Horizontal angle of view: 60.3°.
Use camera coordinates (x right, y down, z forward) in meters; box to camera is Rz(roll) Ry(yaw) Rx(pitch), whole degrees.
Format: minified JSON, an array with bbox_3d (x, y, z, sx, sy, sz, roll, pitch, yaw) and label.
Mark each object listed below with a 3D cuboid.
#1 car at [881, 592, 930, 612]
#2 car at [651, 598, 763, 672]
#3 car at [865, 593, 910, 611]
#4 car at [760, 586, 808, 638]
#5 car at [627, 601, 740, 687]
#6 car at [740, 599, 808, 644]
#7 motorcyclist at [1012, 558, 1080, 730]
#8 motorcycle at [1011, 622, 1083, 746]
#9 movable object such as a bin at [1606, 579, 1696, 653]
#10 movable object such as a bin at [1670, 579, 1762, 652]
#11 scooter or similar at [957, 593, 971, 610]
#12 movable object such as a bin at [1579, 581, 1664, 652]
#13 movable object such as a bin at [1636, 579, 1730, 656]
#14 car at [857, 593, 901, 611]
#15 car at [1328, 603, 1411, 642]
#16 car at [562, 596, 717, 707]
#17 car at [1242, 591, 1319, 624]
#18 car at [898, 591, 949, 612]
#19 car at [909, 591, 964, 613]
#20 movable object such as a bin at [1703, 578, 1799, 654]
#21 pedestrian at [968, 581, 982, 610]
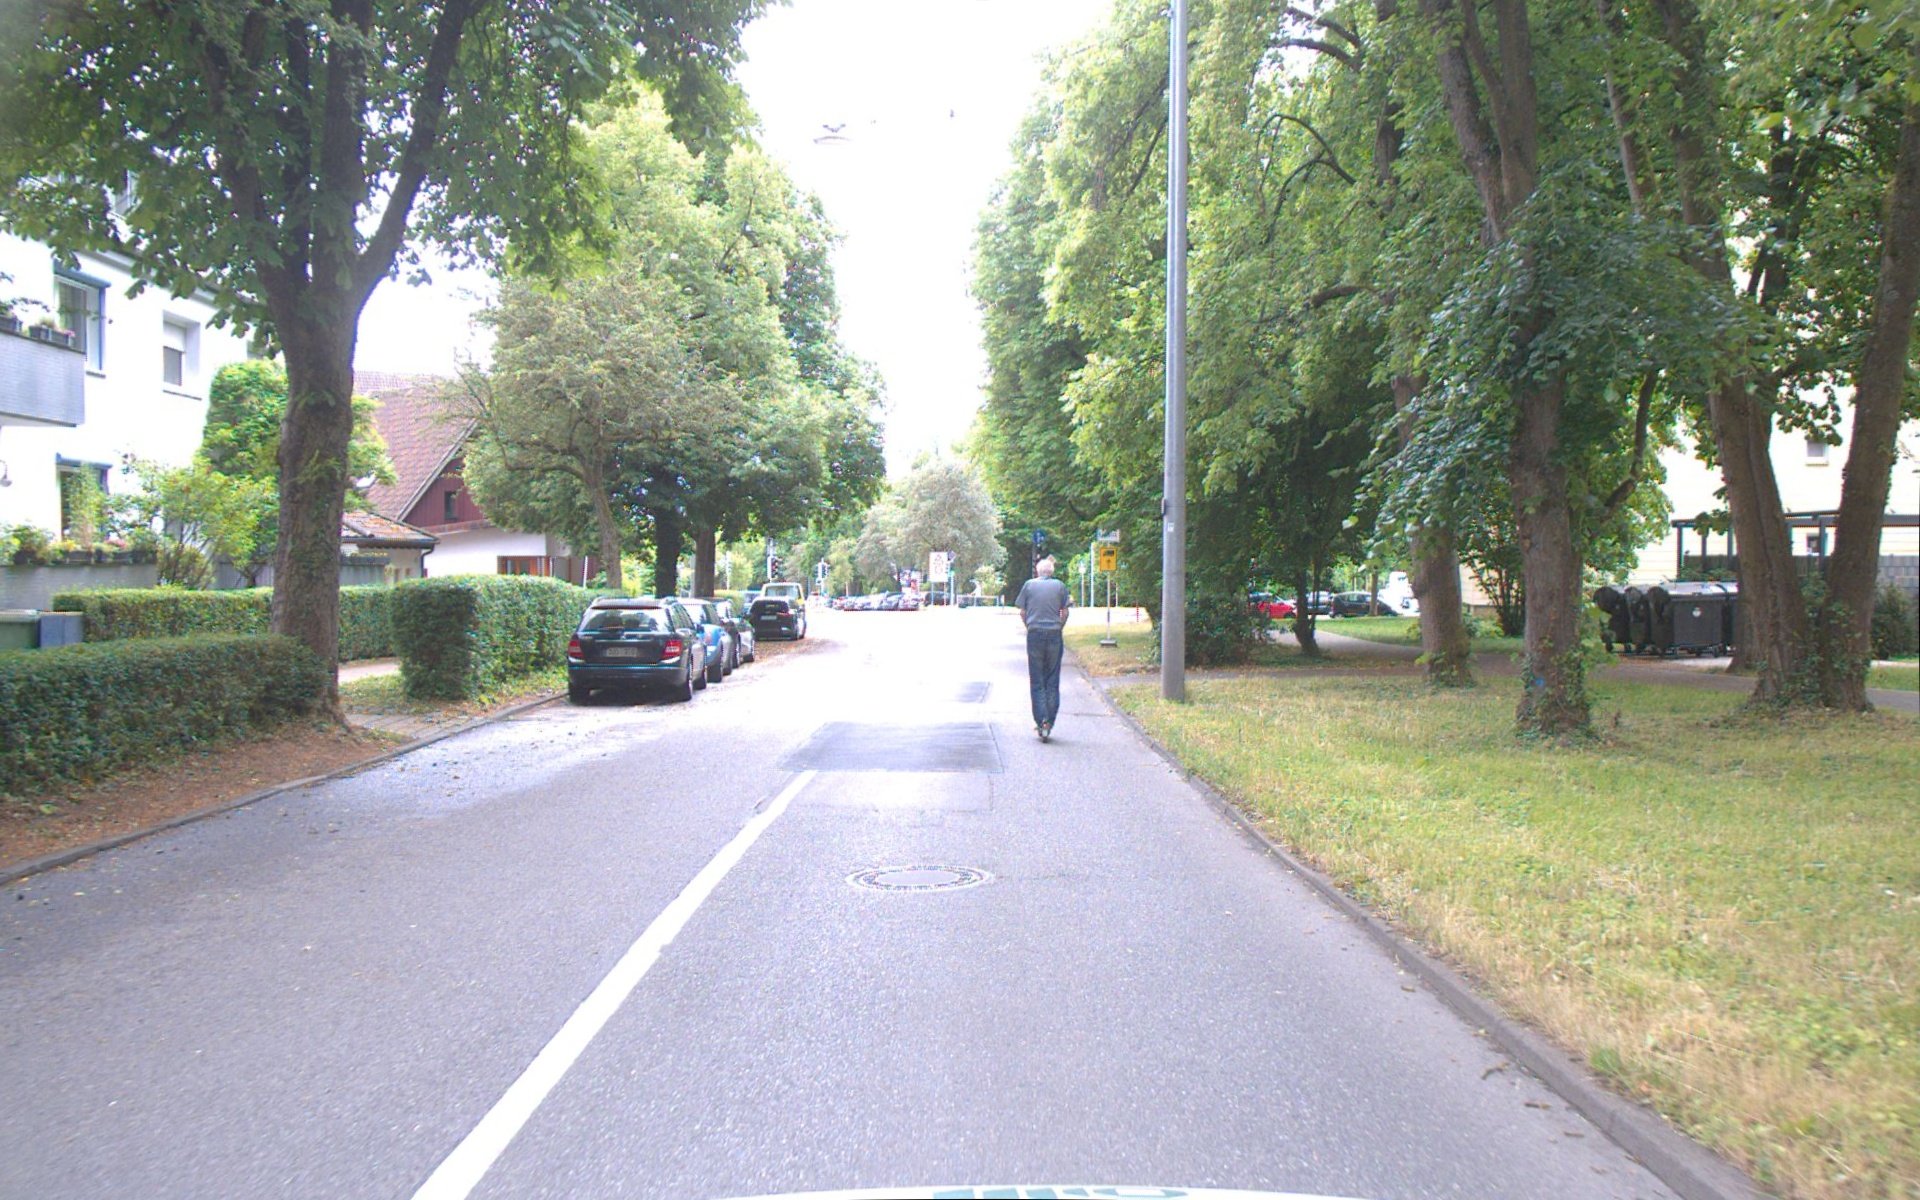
[{"bbox_3d":[-4.526,0.163,136.884,3.909,1.537,1.798,-1,0,-5],"label":"car"},{"bbox_3d":[-5.326,0.698,35.330,1.758,1.435,4.643,-1,0,-1],"label":"car"},{"bbox_3d":[-6.505,0.186,147.526,3.909,1.537,1.798,-1,0,-5],"label":"car"},{"bbox_3d":[-7.101,0.474,66.543,1.822,1.998,4.497,-1,-1,-7],"label":"car"},{"bbox_3d":[-4.890,0.743,29.621,1.631,1.416,3.703,-1,0,-4],"label":"car"},{"bbox_3d":[-6.207,0.710,55.507,1.853,1.435,4.552,-1,0,-2],"label":"car"},{"bbox_3d":[0.916,0.461,17.702,0.659,1.792,0.639,1,0,-1],"label":"motorcyclist"},{"bbox_3d":[0.912,0.869,17.567,0.659,1.239,1.273,1,0,-1],"label":"motorcycle"},{"bbox_3d":[14.860,0.341,35.595,1.300,1.527,1.313,-1,0,-5],"label":"movable object such as a bin"},{"bbox_3d":[16.301,0.323,35.704,1.300,1.527,1.313,-1,0,-5],"label":"movable object such as a bin"},{"bbox_3d":[0.255,0.094,104.377,0.695,1.067,0.788,-1,-1,17],"label":"scooter or similar"},{"bbox_3d":[14.763,0.350,36.947,1.300,1.527,1.313,-1,0,-5],"label":"movable object such as a bin"},{"bbox_3d":[14.946,0.350,34.234,1.300,1.527,1.313,-1,0,-5],"label":"movable object such as a bin"},{"bbox_3d":[-7.294,0.193,149.391,3.909,1.537,1.798,-1,0,-5],"label":"car"},{"bbox_3d":[21.045,1.118,84.991,3.907,1.756,1.800,2,3,23],"label":"car"},{"bbox_3d":[-4.717,0.704,24.863,1.759,1.498,4.414,-1,0,-4],"label":"car"},{"bbox_3d":[16.714,0.379,86.352,3.902,1.584,1.802,1,3,10],"label":"car"},{"bbox_3d":[-2.865,0.134,130.111,3.909,1.537,1.798,-1,0,-5],"label":"car"},{"bbox_3d":[-1.758,0.133,123.018,3.909,1.537,1.798,-1,0,-5],"label":"car"},{"bbox_3d":[16.386,0.325,34.307,1.300,1.527,1.313,-1,0,-5],"label":"movable object such as a bin"},{"bbox_3d":[0.919,-0.269,104.080,0.717,1.792,0.662,-1,-1,17],"label":"pedestrian"}]
